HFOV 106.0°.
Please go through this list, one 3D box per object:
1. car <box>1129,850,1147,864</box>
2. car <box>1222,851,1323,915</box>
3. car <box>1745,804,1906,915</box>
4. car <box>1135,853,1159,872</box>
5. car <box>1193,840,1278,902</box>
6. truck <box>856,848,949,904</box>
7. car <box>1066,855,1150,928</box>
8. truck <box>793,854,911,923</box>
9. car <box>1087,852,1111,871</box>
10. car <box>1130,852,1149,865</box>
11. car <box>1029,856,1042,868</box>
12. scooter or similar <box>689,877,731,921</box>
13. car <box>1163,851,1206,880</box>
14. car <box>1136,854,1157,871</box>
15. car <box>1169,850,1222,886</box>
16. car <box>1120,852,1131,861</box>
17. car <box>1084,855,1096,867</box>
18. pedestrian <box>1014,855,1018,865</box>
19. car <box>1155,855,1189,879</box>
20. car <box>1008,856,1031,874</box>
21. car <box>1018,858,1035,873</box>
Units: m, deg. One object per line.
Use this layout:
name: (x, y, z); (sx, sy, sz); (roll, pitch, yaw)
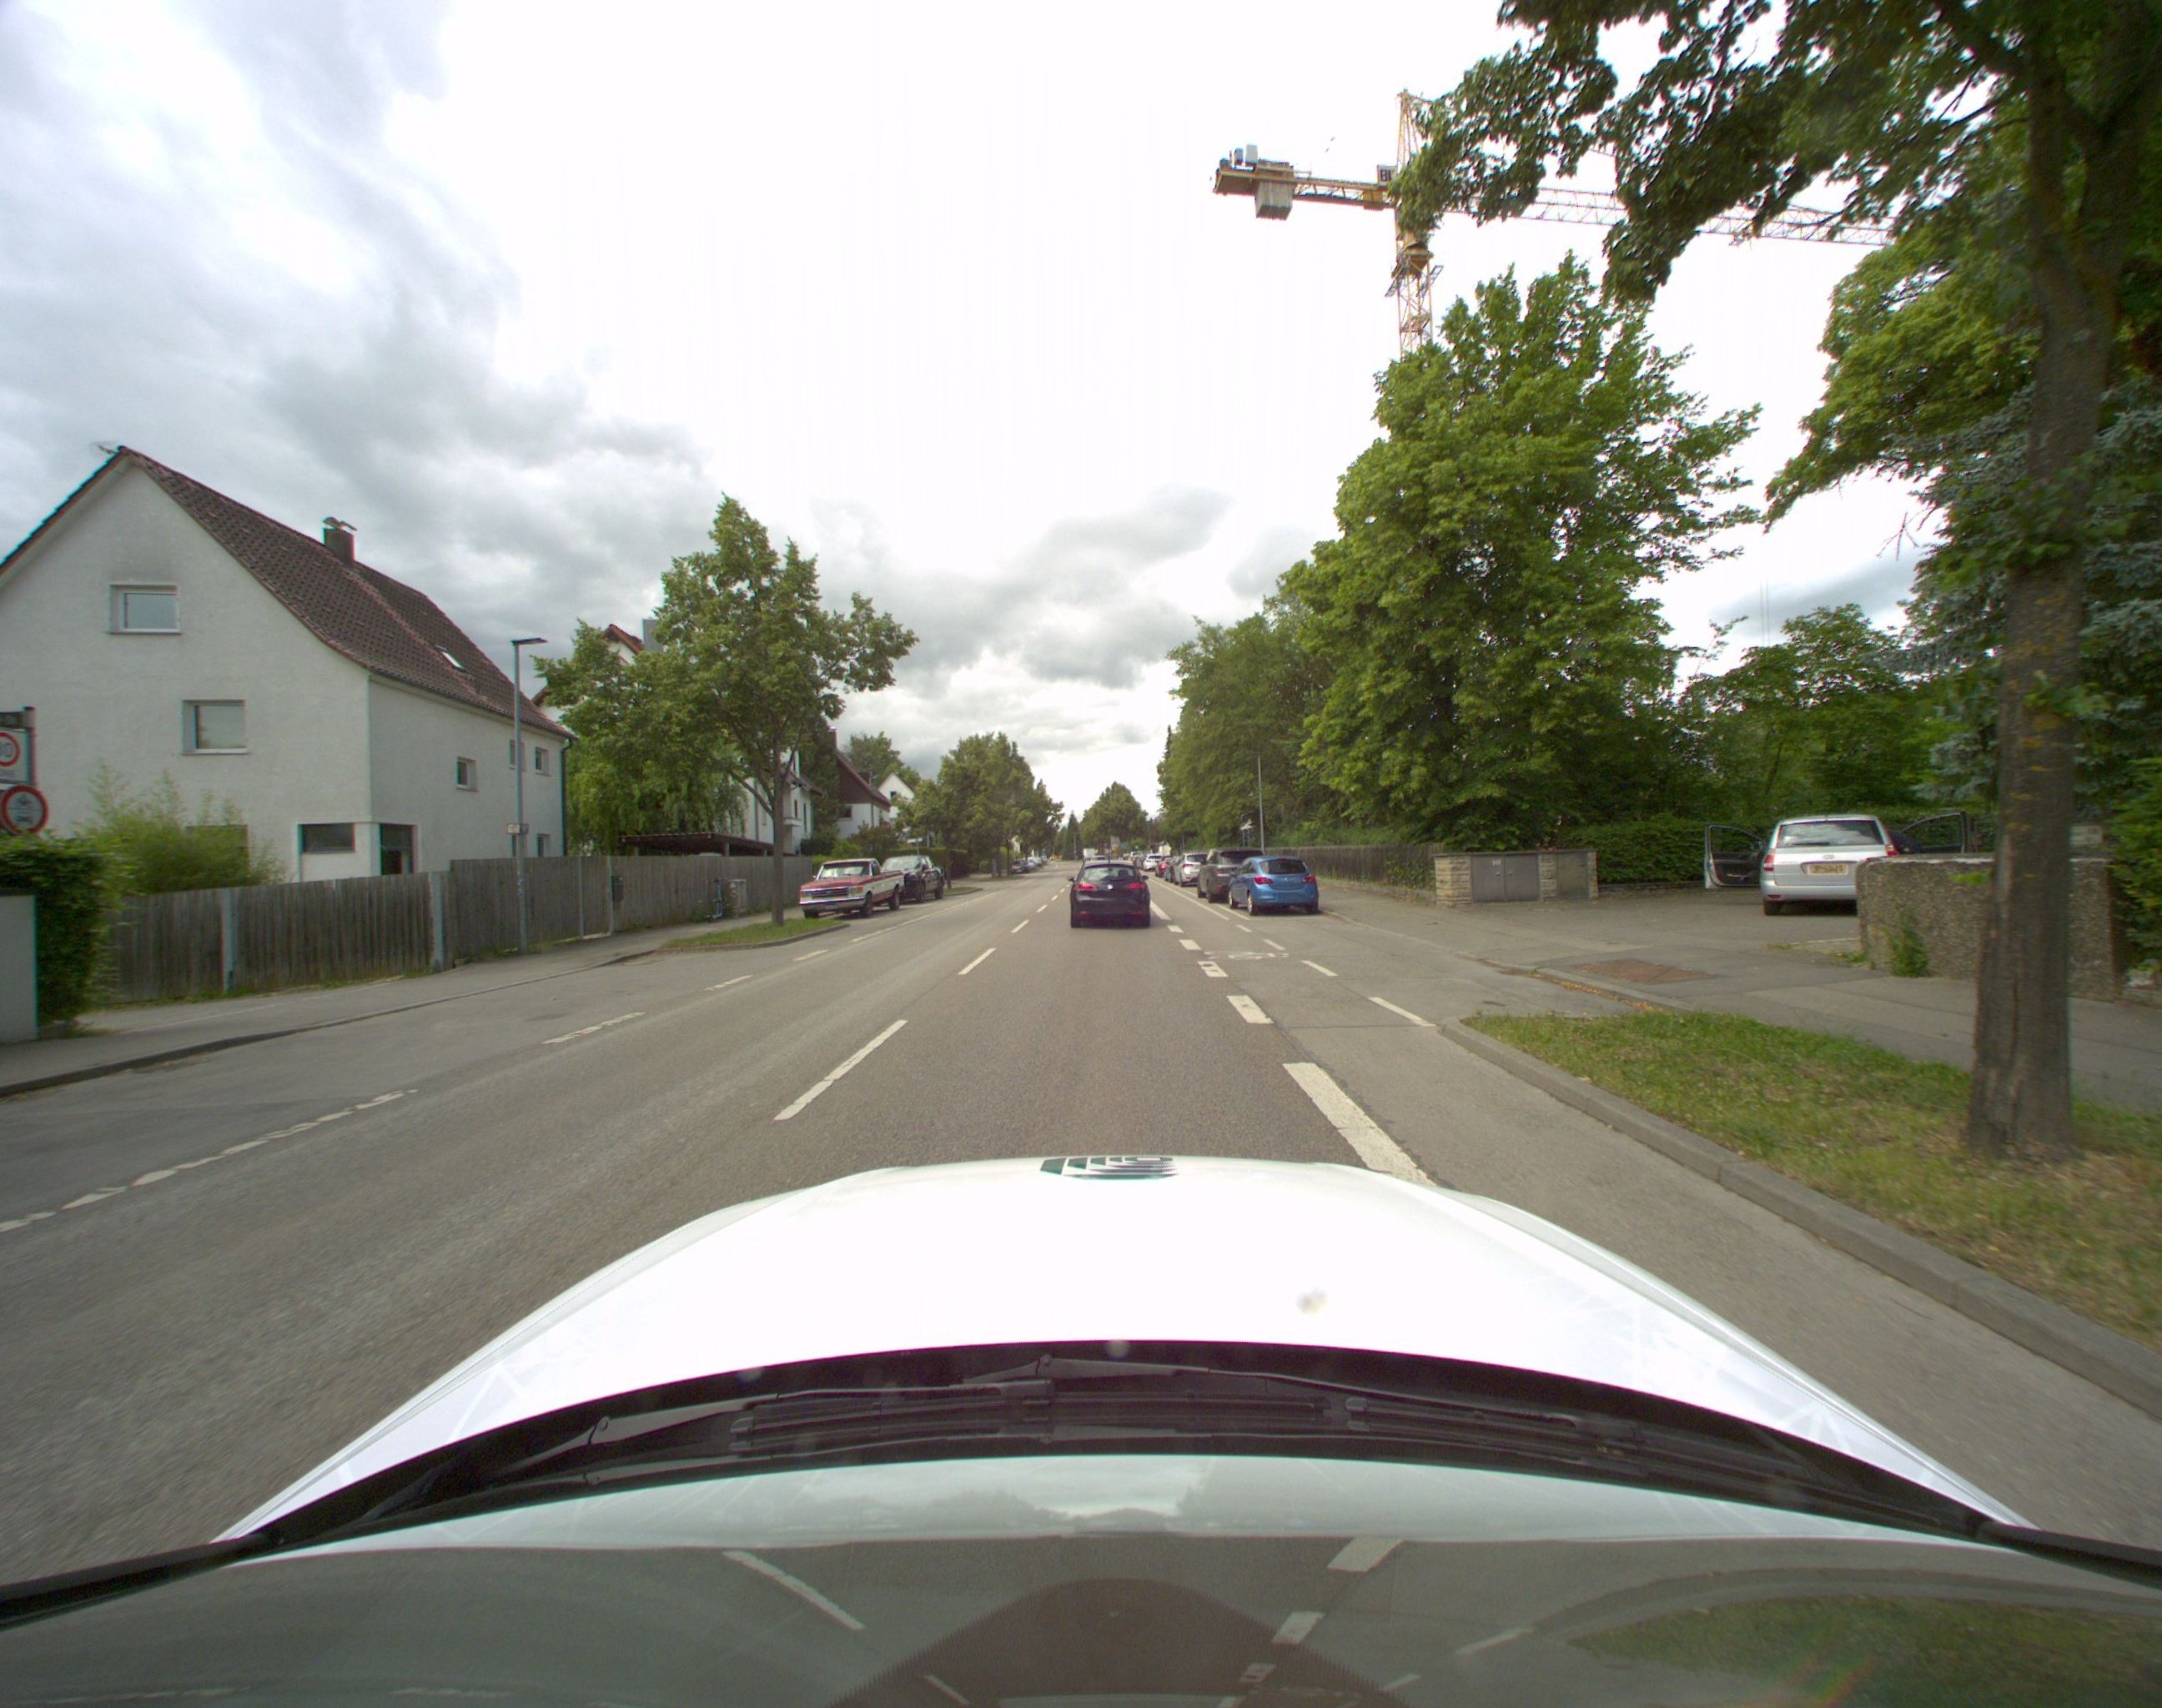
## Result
car: (7.042, 0.361, 100.633); (1.894, 1.642, 4.116); (-3, 0, 1)
car: (4.968, 0.710, 21.600); (1.680, 1.501, 3.920); (-2, 0, -1)
car: (12.934, 0.052, 14.208); (1.793, 1.660, 4.025); (-3, 0, 43)
car: (5.623, 0.760, 69.720); (1.761, 1.510, 4.032); (-2, -1, 2)
car: (4.973, 0.527, 26.890); (1.986, 1.816, 4.829); (-1, -1, 2)
truck: (-7.342, 0.843, 34.223); (2.414, 2.043, 5.996); (-2, 0, 1)
car: (0.625, 0.778, 18.843); (1.725, 1.486, 4.002); (-1, 0, 2)
truck: (-7.296, 1.011, 26.679); (1.959, 1.868, 5.667); (-4, 0, 2)
car: (1.583, 0.661, 72.102); (1.987, 1.613, 4.000); (-2, 0, 0)
car: (6.730, 0.507, 94.054); (1.856, 1.417, 4.604); (-2, 0, 2)
car: (-6.467, 1.118, 115.831); (1.673, 1.552, 4.269); (-3, 0, -2)
scooter or similar: (-10.612, 1.280, 23.320); (0.634, 1.212, 1.303); (0, -1, -2)
car: (5.637, 0.616, 44.899); (1.810, 1.515, 4.680); (-1, 0, 1)
car: (6.022, 0.777, 75.482); (1.696, 1.510, 4.539); (-1, 0, 1)
car: (5.425, 0.638, 39.204); (1.857, 1.589, 4.420); (-2, 0, -1)
car: (7.505, 0.470, 137.394); (1.607, 1.377, 4.385); (-3, -1, 0)
car: (1.537, 1.193, 144.899); (1.987, 2.013, 4.000); (-2, 0, 0)
pedestrian: (-11.062, 1.023, 138.407); (0.502, 1.806, 0.671); (-3, 0, -1)
car: (6.004, 0.828, 54.159); (1.852, 1.413, 4.444); (0, 1, 1)
car: (-6.257, 1.127, 83.474); (2.090, 1.647, 5.034); (-4, 0, -3)
car: (-6.557, 1.391, 98.052); (1.713, 1.613, 3.908); (-3, 0, -1)
